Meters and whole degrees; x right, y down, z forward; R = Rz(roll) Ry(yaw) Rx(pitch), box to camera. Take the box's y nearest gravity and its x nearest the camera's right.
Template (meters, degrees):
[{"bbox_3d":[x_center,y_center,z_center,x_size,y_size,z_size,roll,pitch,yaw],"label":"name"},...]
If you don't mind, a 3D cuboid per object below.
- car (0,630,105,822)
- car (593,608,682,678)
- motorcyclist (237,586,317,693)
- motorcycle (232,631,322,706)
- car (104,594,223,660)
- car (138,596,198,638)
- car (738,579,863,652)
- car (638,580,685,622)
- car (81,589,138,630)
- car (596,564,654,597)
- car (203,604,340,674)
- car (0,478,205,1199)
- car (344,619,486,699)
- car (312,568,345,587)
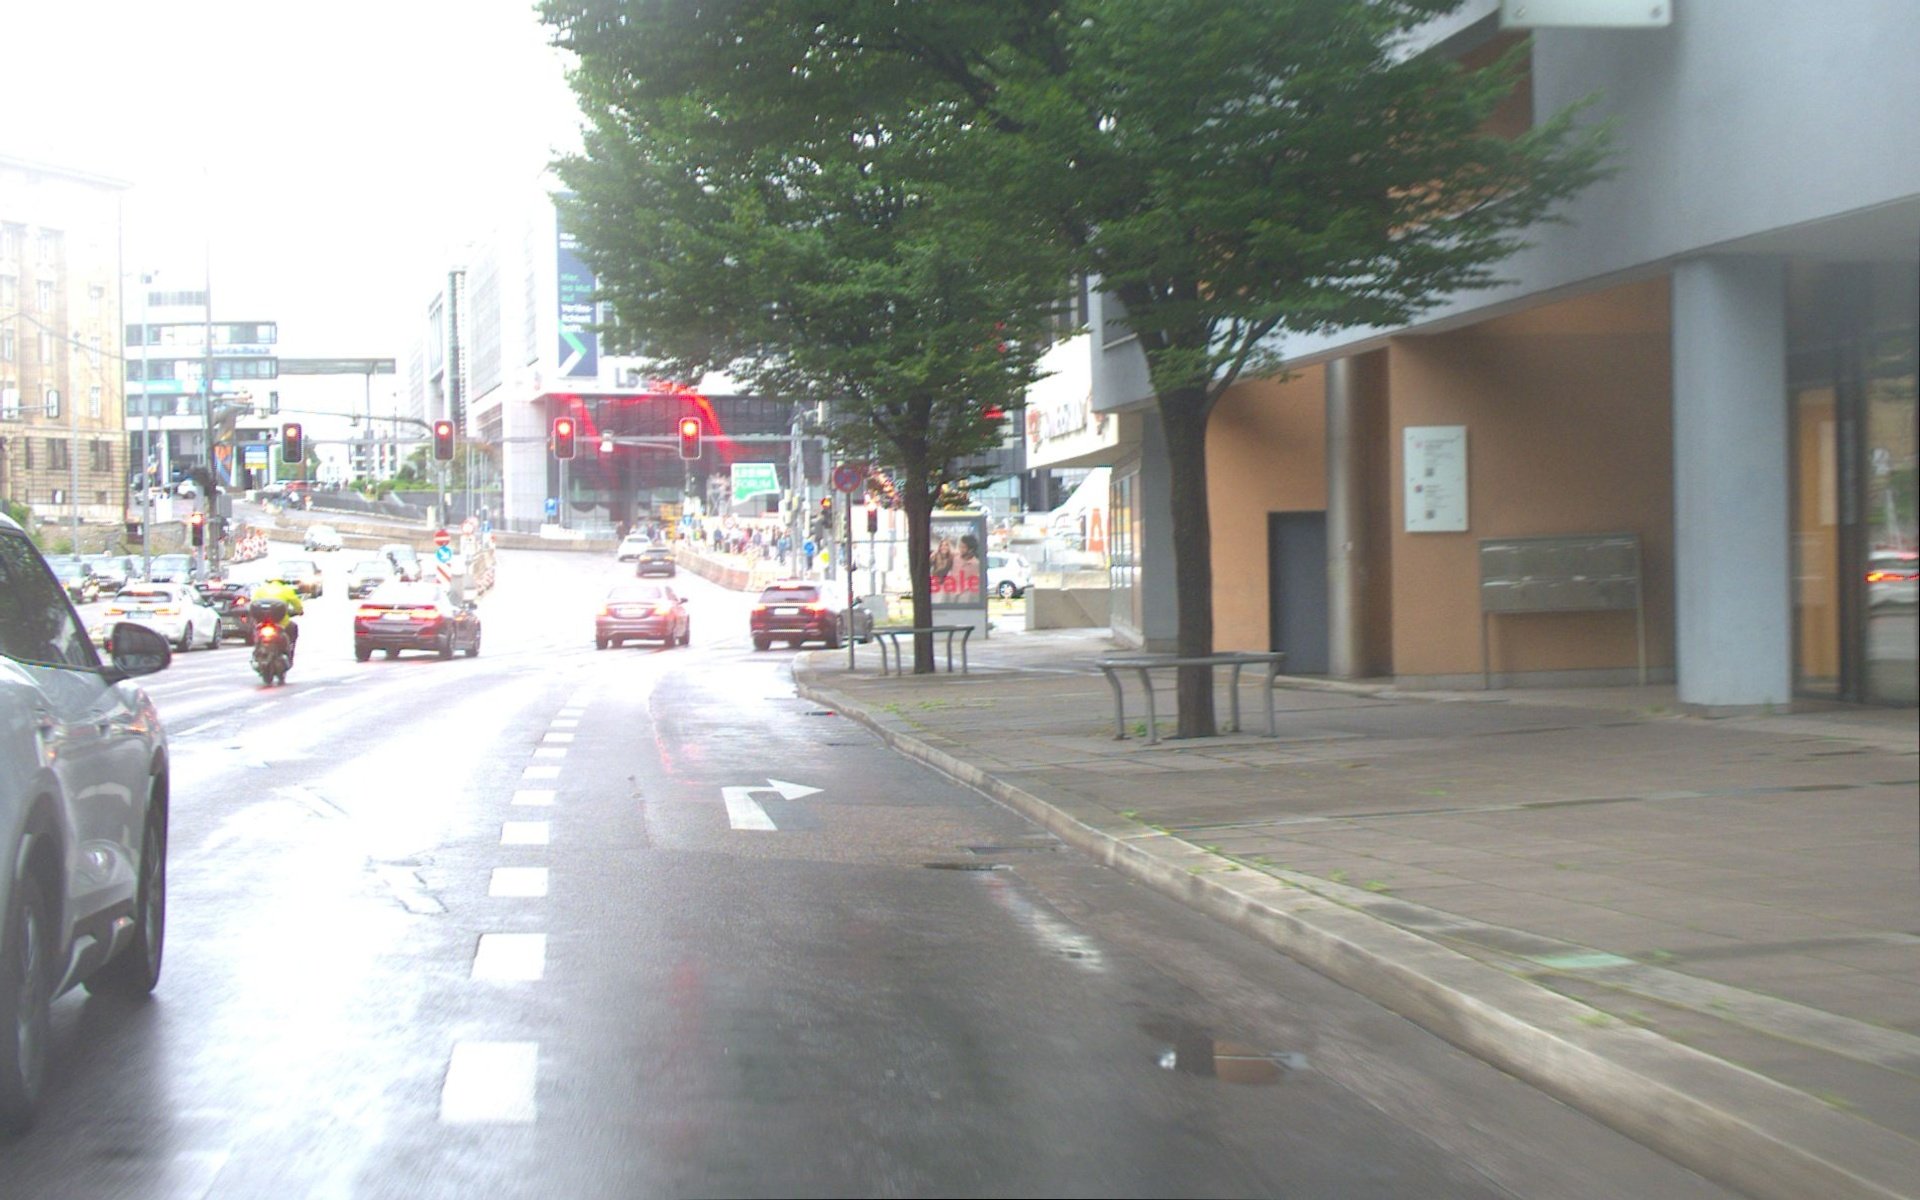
[{"bbox_3d":[-8.033,0.949,26.740,1.732,1.399,4.383,0,0,-1],"label":"car"},{"bbox_3d":[-7.347,0.962,78.616,1.783,1.397,4.487,0,2,-2],"label":"car"},{"bbox_3d":[-9.502,0.543,47.855,0.941,1.470,1.100,0,0,-4],"label":"motorcyclist"},{"bbox_3d":[-9.492,0.942,47.852,0.941,0.986,2.294,0,0,-4],"label":"motorcycle"},{"bbox_3d":[-17.217,0.573,74.441,1.783,1.369,3.993,0,0,-2],"label":"car"},{"bbox_3d":[-29.971,0.636,130.211,1.801,1.568,4.075,0,0,-7],"label":"car"},{"bbox_3d":[-3.439,0.339,74.912,1.892,1.539,3.991,0,0,10],"label":"car"},{"bbox_3d":[-14.371,0.044,165.180,1.993,2.007,4.001,0,0,-8],"label":"car"},{"bbox_3d":[-33.298,0.372,134.682,1.697,1.568,4.001,0,0,-7],"label":"car"},{"bbox_3d":[-18.870,-1.090,193.562,1.993,1.810,4.001,0,0,-25],"label":"car"},{"bbox_3d":[-16.213,0.913,81.146,1.784,1.594,4.071,0,0,11],"label":"car"},{"bbox_3d":[-3.302,0.547,9.799,1.808,1.655,4.171,0,0,-6],"label":"car"},{"bbox_3d":[-10.765,1.144,68.212,1.887,1.509,5.002,0,0,2],"label":"car"},{"bbox_3d":[-42.801,-1.503,233.063,1.767,1.256,4.195,0,0,-5],"label":"car"}]
